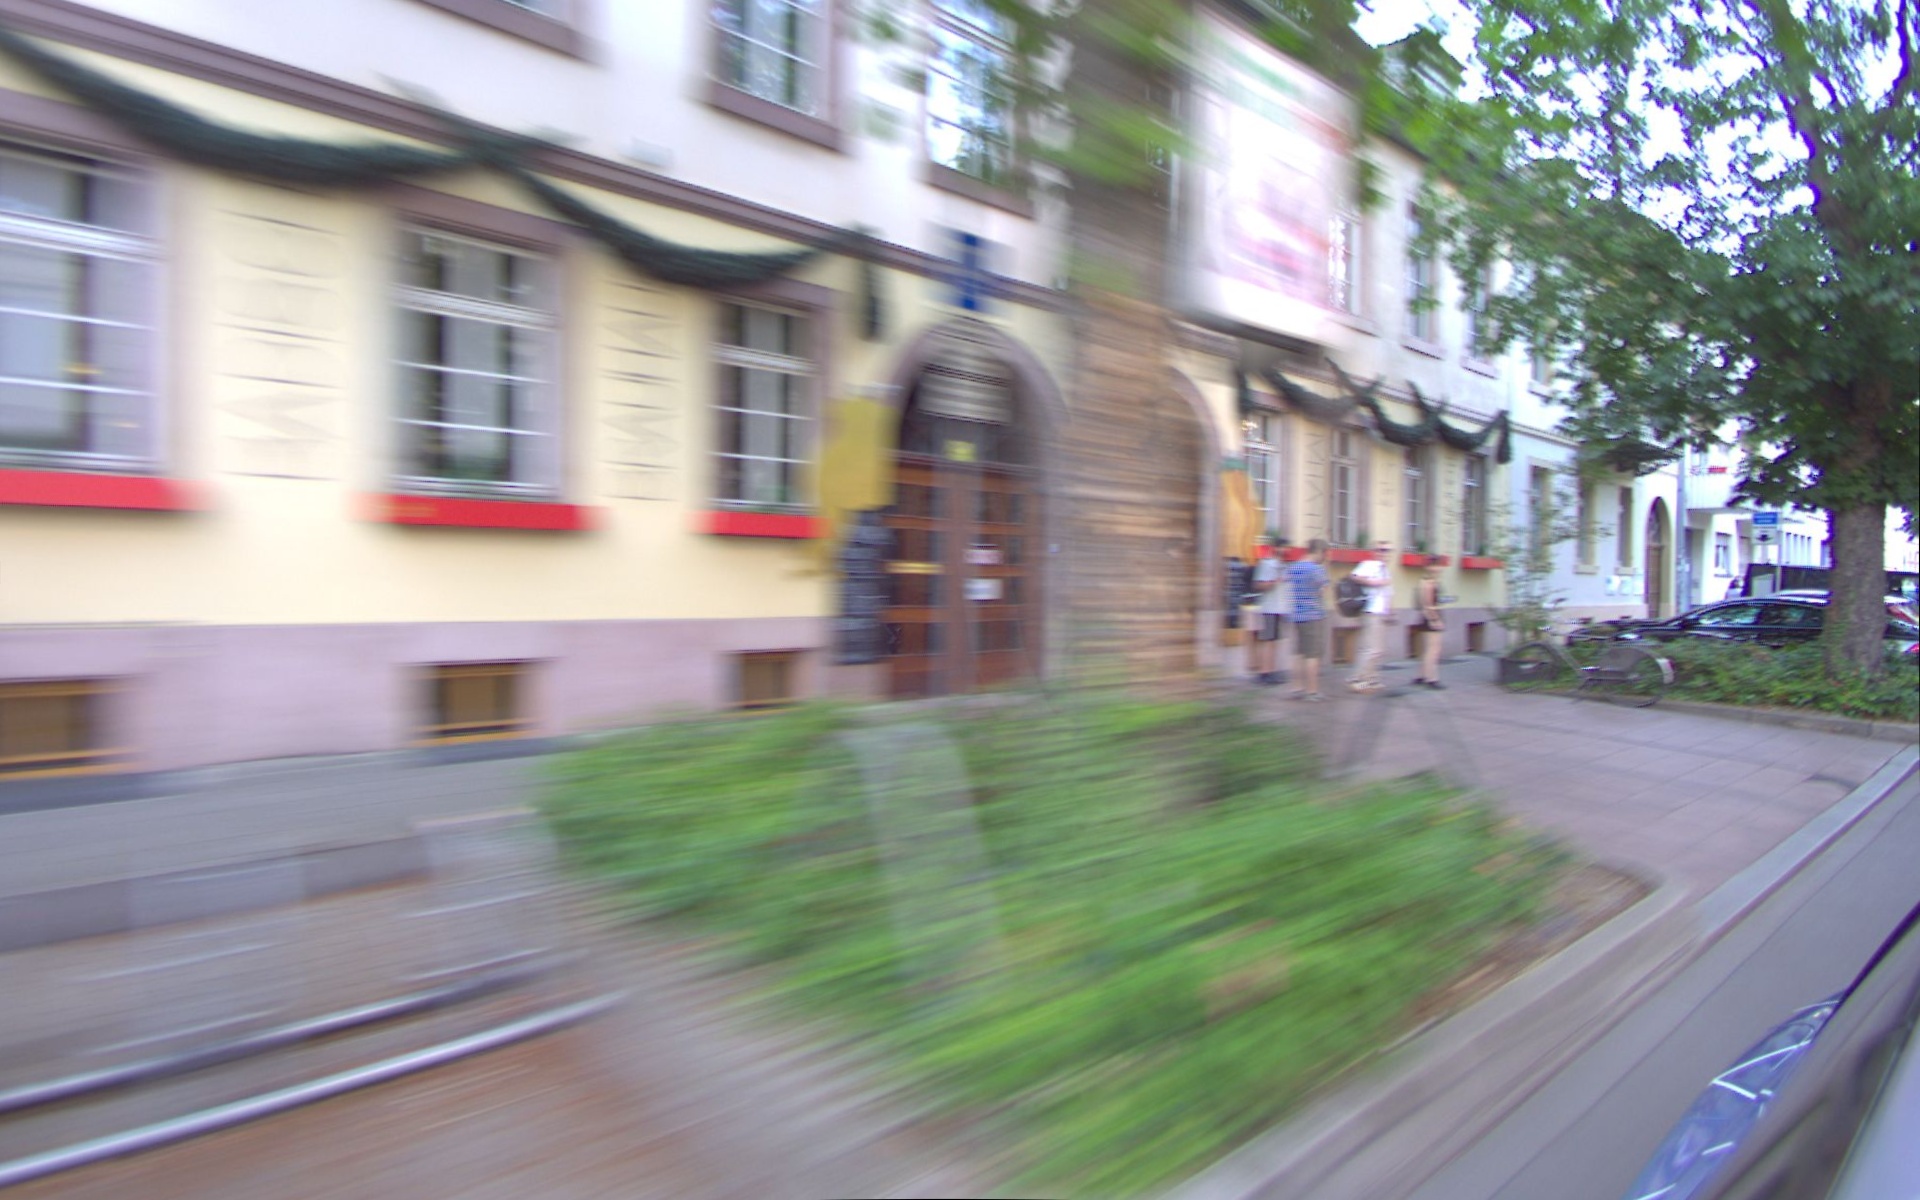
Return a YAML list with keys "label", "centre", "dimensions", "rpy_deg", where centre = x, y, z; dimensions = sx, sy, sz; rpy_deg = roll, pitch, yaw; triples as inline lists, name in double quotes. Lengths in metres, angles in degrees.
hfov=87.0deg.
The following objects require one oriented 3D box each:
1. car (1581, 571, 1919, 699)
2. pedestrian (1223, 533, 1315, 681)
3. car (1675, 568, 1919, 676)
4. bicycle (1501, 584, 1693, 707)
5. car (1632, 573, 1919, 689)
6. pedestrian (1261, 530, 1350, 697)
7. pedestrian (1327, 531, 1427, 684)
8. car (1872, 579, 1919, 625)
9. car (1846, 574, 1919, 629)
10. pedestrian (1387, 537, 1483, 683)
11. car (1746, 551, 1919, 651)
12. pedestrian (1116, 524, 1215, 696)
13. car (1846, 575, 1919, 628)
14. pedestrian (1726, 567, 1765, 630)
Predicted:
- label: "car"
  centre: [12.013, 0.422, 14.987]
  dimensions: [1.853, 1.410, 4.410]
  rpy_deg: [-1, 5, -42]
- label: "pedestrian"
  centre: [3.806, 0.071, 12.520]
  dimensions: [0.729, 1.760, 0.729]
  rpy_deg: [2, 2, -13]
- label: "car"
  centre: [15.598, 0.326, 18.529]
  dimensions: [1.683, 1.597, 3.691]
  rpy_deg: [0, 5, -39]
- label: "bicycle"
  centre: [7.511, 0.490, 11.989]
  dimensions: [1.793, 1.247, 0.663]
  rpy_deg: [5, 4, 41]
- label: "car"
  centre: [13.728, 0.422, 16.699]
  dimensions: [1.893, 1.454, 3.996]
  rpy_deg: [-1, 5, -41]
- label: "pedestrian"
  centre: [3.790, 0.129, 11.101]
  dimensions: [0.612, 1.760, 0.616]
  rpy_deg: [1, 2, -40]
- label: "pedestrian"
  centre: [4.977, 0.082, 12.107]
  dimensions: [0.732, 1.760, 0.716]
  rpy_deg: [2, 2, -21]
- label: "car"
  centre: [32.637, 0.178, 32.938]
  dimensions: [1.785, 1.446, 4.088]
  rpy_deg: [0, 5, -38]
- label: "car"
  centre: [30.809, 0.139, 31.462]
  dimensions: [1.910, 1.597, 4.601]
  rpy_deg: [0, 5, -41]
- label: "pedestrian"
  centre: [5.958, 0.113, 12.713]
  dimensions: [0.711, 1.760, 0.710]
  rpy_deg: [2, 2, -27]
- label: "car"
  centre: [21.222, 0.031, 23.170]
  dimensions: [2.002, 2.035, 4.701]
  rpy_deg: [0, 5, -40]
- label: "pedestrian"
  centre: [2.235, 0.087, 10.990]
  dimensions: [0.774, 1.760, 0.676]
  rpy_deg: [4, 2, 34]
- label: "car"
  centre: [28.715, 0.121, 29.708]
  dimensions: [1.668, 1.440, 3.802]
  rpy_deg: [0, 5, -41]
- label: "pedestrian"
  centre: [20.463, -0.041, 26.375]
  dimensions: [0.724, 1.619, 0.670]
  rpy_deg: [0, 0, -41]
